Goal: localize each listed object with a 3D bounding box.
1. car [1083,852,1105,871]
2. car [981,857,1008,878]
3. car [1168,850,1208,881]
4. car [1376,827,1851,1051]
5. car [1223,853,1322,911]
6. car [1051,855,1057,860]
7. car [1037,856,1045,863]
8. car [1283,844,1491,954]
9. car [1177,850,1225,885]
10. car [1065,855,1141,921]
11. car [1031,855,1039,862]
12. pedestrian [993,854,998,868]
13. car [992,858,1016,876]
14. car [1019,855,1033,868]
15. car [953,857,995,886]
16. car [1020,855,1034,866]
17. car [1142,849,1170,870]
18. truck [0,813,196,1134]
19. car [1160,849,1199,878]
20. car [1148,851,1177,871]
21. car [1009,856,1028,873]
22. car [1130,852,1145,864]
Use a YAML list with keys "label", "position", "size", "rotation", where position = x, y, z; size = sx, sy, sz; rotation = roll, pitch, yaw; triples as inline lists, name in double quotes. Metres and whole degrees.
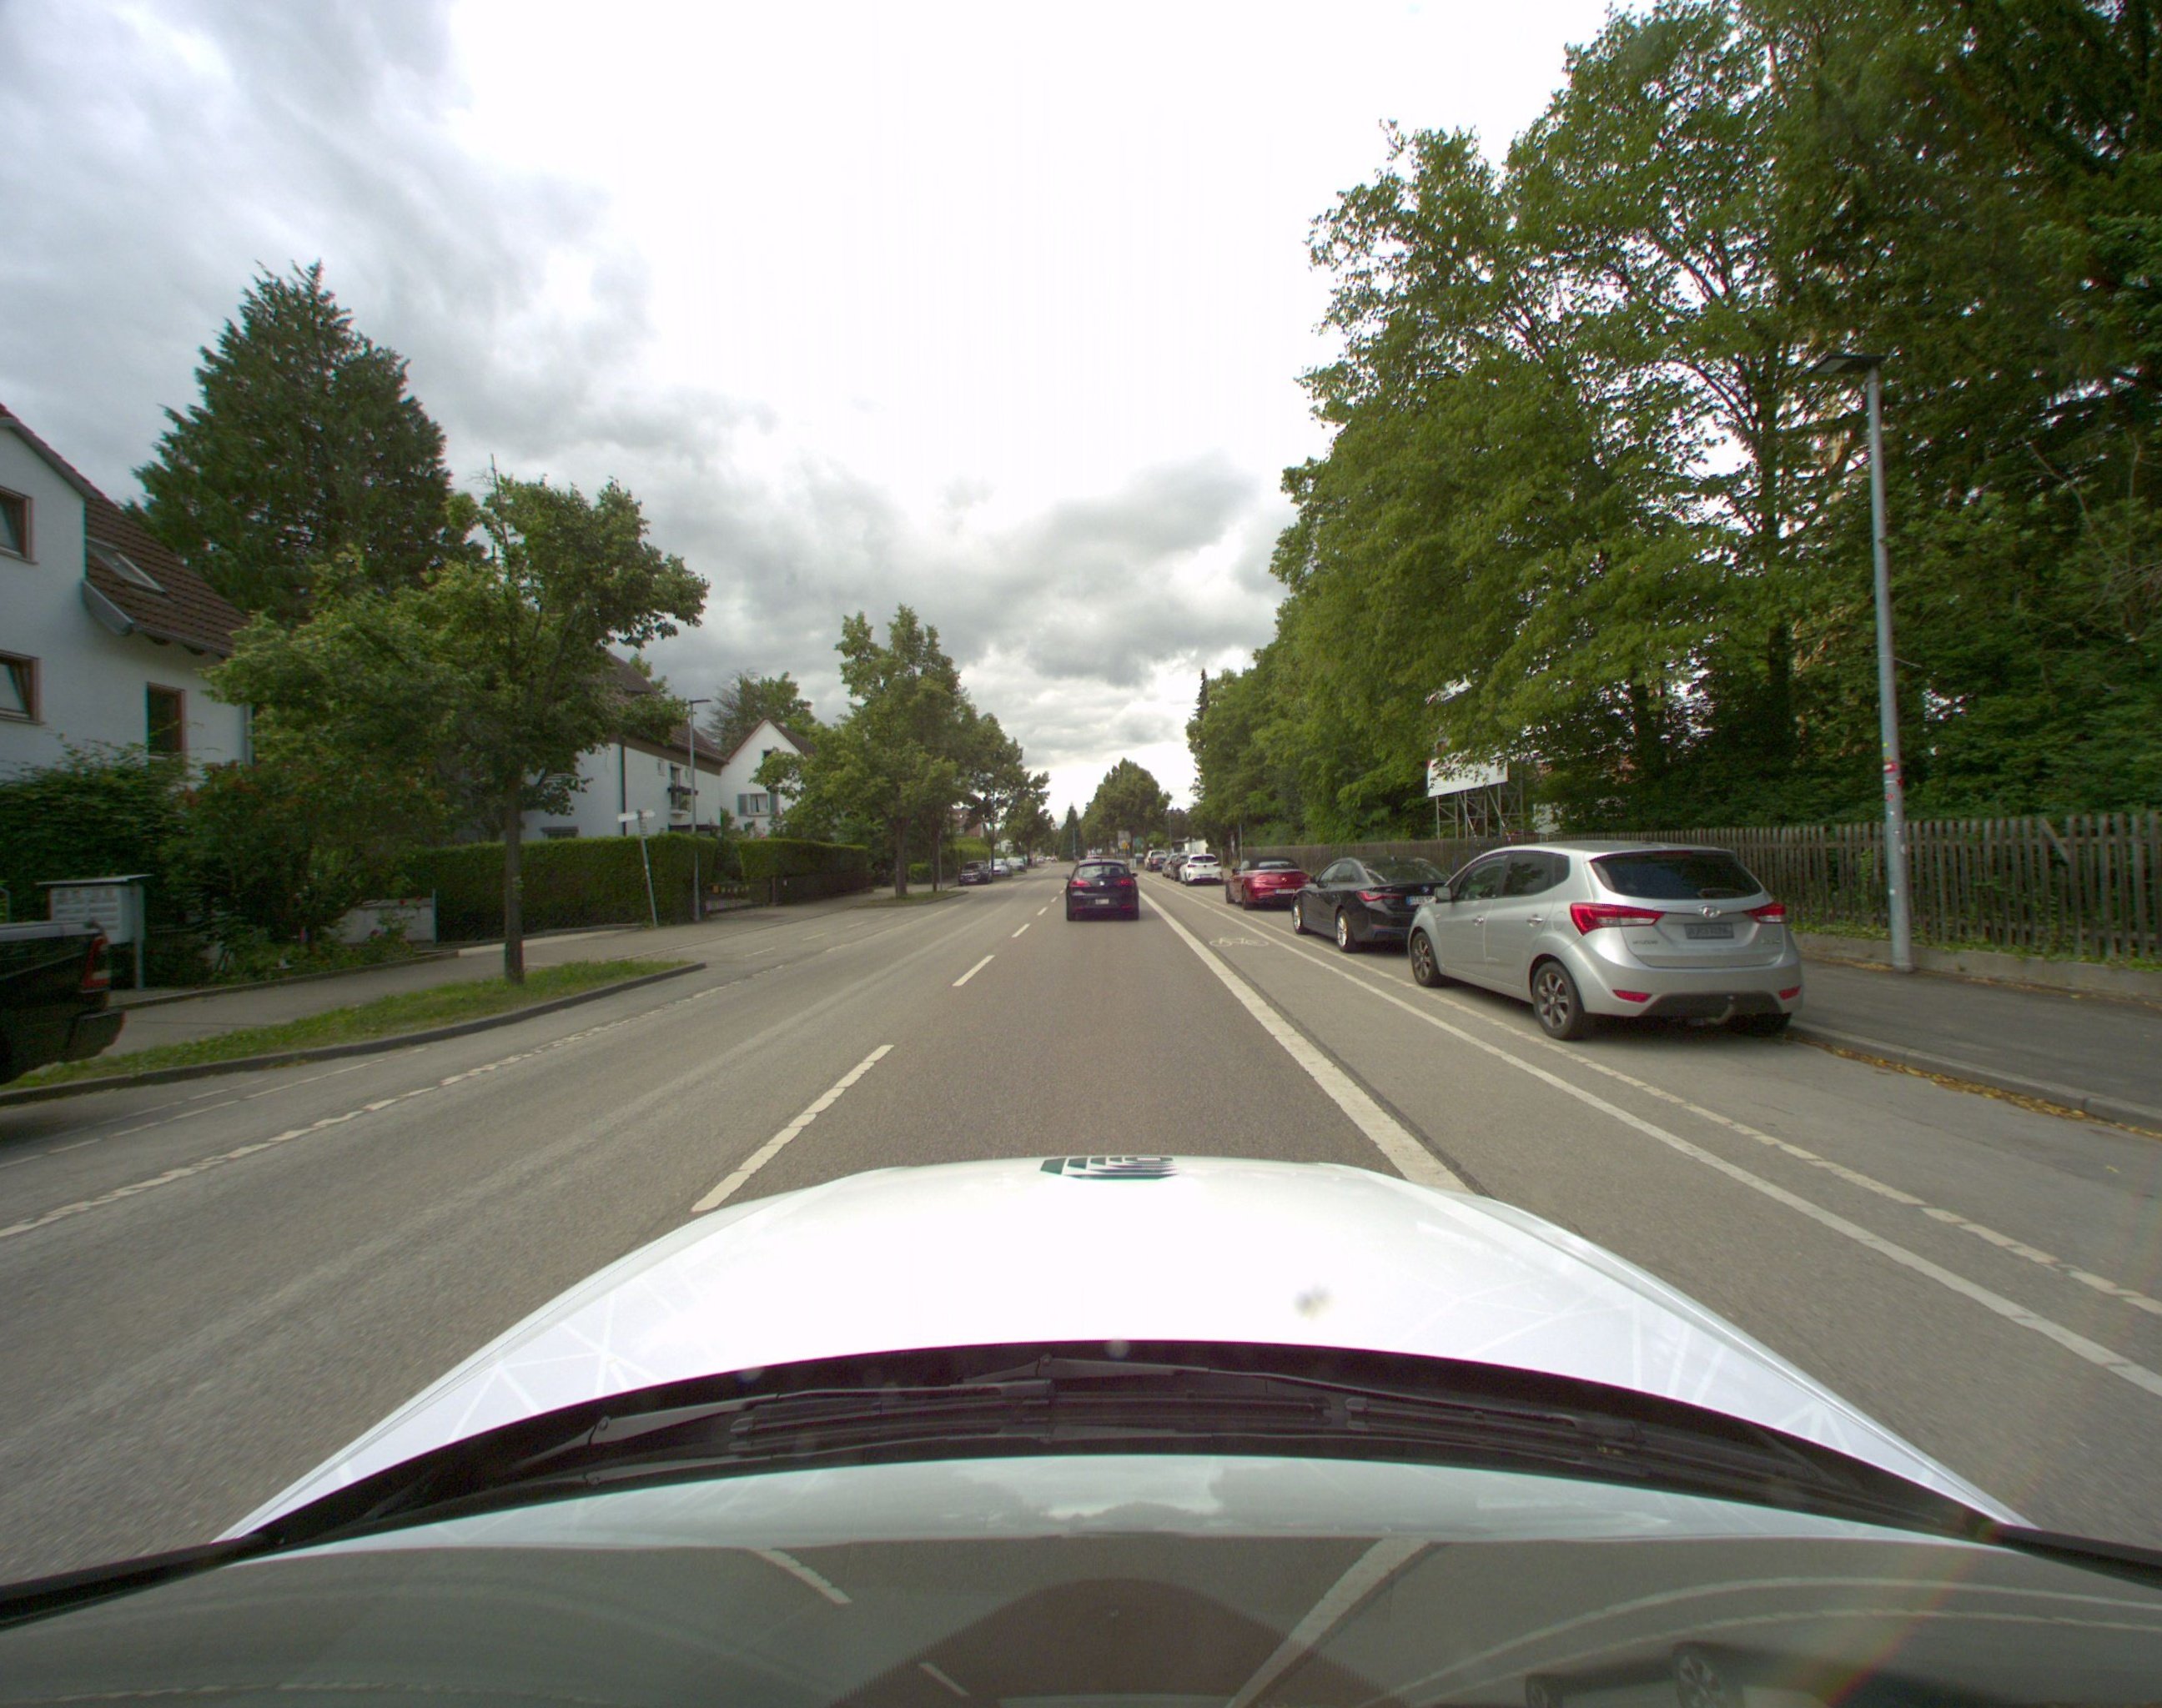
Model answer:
- label: "car"
  position: [1.190, 0.702, 74.802]
  size: [1.987, 1.613, 4.000]
  rotation: [-2, 0, 0]
- label: "car"
  position: [-7.043, 1.097, 66.685]
  size: [1.713, 1.613, 3.908]
  rotation: [-3, 0, -1]
- label: "car"
  position: [5.739, 0.591, 44.147]
  size: [1.695, 1.510, 4.539]
  rotation: [-1, 0, 2]
- label: "car"
  position: [4.708, 0.618, 8.178]
  size: [1.856, 1.589, 4.421]
  rotation: [-2, 0, 0]
- label: "car"
  position: [5.254, 0.706, 22.908]
  size: [1.852, 1.413, 4.445]
  rotation: [0, 1, 1]
- label: "car"
  position: [-8.158, 1.067, 246.236]
  size: [1.563, 1.634, 3.622]
  rotation: [-3, 0, 1]
- label: "car"
  position: [-10.115, 1.374, 207.874]
  size: [1.793, 1.601, 3.997]
  rotation: [-3, 0, -2]
- label: "car"
  position: [4.871, 0.645, 13.757]
  size: [1.809, 1.515, 4.681]
  rotation: [-1, 0, 1]
- label: "car"
  position: [5.615, 0.636, 38.593]
  size: [1.761, 1.510, 4.033]
  rotation: [-2, -1, 2]
- label: "car"
  position: [0.571, 0.777, 20.509]
  size: [1.725, 1.486, 4.002]
  rotation: [0, 0, 2]
- label: "car"
  position: [-12.664, 1.264, 225.621]
  size: [2.025, 1.970, 3.995]
  rotation: [-3, 0, -3]
- label: "pedestrian"
  position: [-11.242, 0.963, 107.380]
  size: [0.502, 1.806, 0.671]
  rotation: [-3, 0, -1]
- label: "car"
  position: [-7.046, 1.152, 74.945]
  size: [1.989, 1.485, 4.885]
  rotation: [-3, 0, -3]
- label: "car"
  position: [-7.661, 1.012, 114.154]
  size: [1.720, 1.725, 4.561]
  rotation: [-2, 0, -2]
- label: "car"
  position: [-6.833, 1.064, 52.357]
  size: [2.090, 1.647, 5.034]
  rotation: [-3, 0, -2]
- label: "car"
  position: [-8.661, 0.983, 130.092]
  size: [1.854, 1.653, 4.294]
  rotation: [-2, 0, 0]
- label: "car"
  position: [6.347, 0.451, 69.394]
  size: [1.895, 1.642, 4.115]
  rotation: [-3, 0, -1]
- label: "truck"
  position: [-8.155, 0.806, 3.307]
  size: [2.414, 2.043, 5.996]
  rotation: [-2, 0, 1]
- label: "car"
  position: [5.928, 0.578, 49.566]
  size: [1.855, 1.611, 4.687]
  rotation: [-1, 0, 1]
- label: "car"
  position: [6.274, 0.531, 62.996]
  size: [1.856, 1.417, 4.605]
  rotation: [-2, 0, 2]
- label: "car"
  position: [-6.510, 1.069, 84.739]
  size: [1.673, 1.552, 4.269]
  rotation: [-3, 0, -2]
- label: "car"
  position: [7.317, 0.490, 106.248]
  size: [1.607, 1.377, 4.386]
  rotation: [-3, -1, 0]
